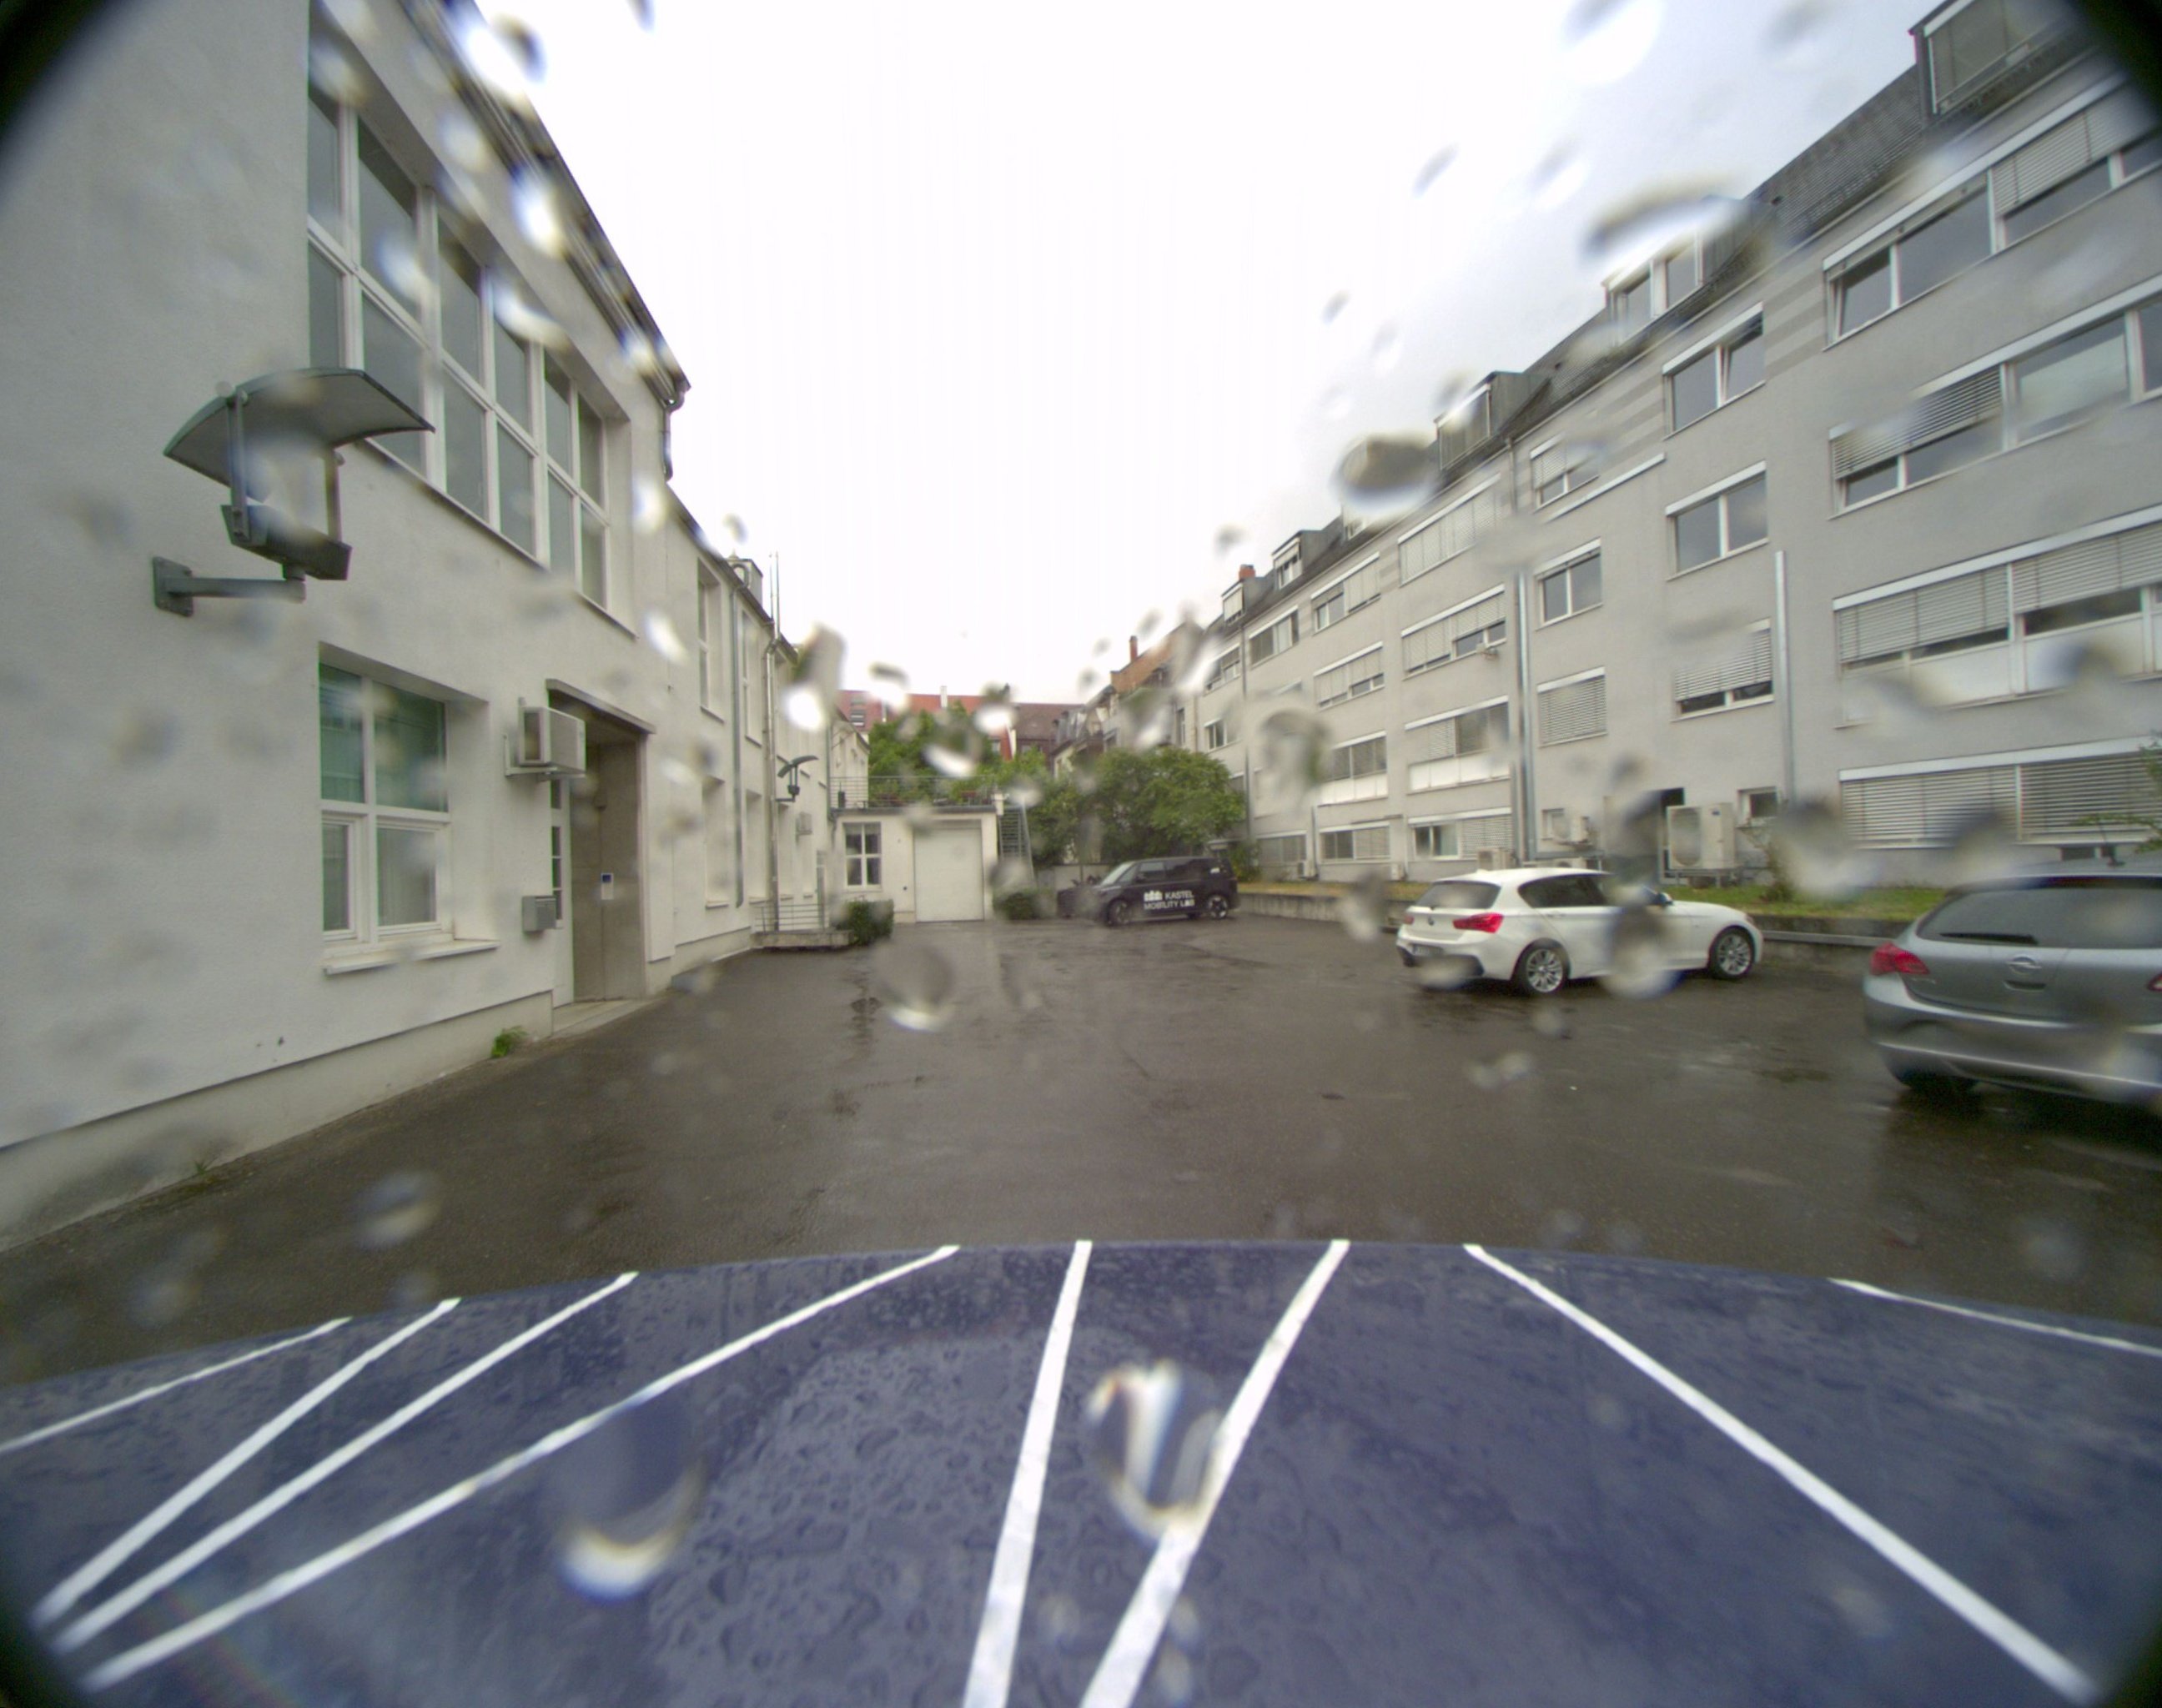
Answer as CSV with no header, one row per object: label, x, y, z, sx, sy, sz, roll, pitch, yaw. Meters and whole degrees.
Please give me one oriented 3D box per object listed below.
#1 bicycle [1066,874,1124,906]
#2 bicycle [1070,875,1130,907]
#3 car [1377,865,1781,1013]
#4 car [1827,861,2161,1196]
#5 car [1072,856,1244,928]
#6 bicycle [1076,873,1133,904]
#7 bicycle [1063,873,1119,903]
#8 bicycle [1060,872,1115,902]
bicycle,0.565,1.489,31.818,2.321,1.179,0.643,-2,2,-8
bicycle,0.762,1.503,31.042,2.321,1.179,0.643,-2,2,-8
car,6.025,0.918,9.341,4.154,1.425,1.751,-2,0,-13
car,6.914,0.787,4.312,4.180,1.474,1.821,-2,-1,-13
car,2.266,1.099,22.665,4.634,1.825,1.986,-2,-2,-16
bicycle,1.014,1.456,32.556,2.321,1.179,0.643,-2,2,-8
bicycle,0.429,1.464,32.978,2.321,1.179,0.643,-2,2,-8
bicycle,0.288,1.453,33.596,2.321,1.179,0.643,-2,2,-8
